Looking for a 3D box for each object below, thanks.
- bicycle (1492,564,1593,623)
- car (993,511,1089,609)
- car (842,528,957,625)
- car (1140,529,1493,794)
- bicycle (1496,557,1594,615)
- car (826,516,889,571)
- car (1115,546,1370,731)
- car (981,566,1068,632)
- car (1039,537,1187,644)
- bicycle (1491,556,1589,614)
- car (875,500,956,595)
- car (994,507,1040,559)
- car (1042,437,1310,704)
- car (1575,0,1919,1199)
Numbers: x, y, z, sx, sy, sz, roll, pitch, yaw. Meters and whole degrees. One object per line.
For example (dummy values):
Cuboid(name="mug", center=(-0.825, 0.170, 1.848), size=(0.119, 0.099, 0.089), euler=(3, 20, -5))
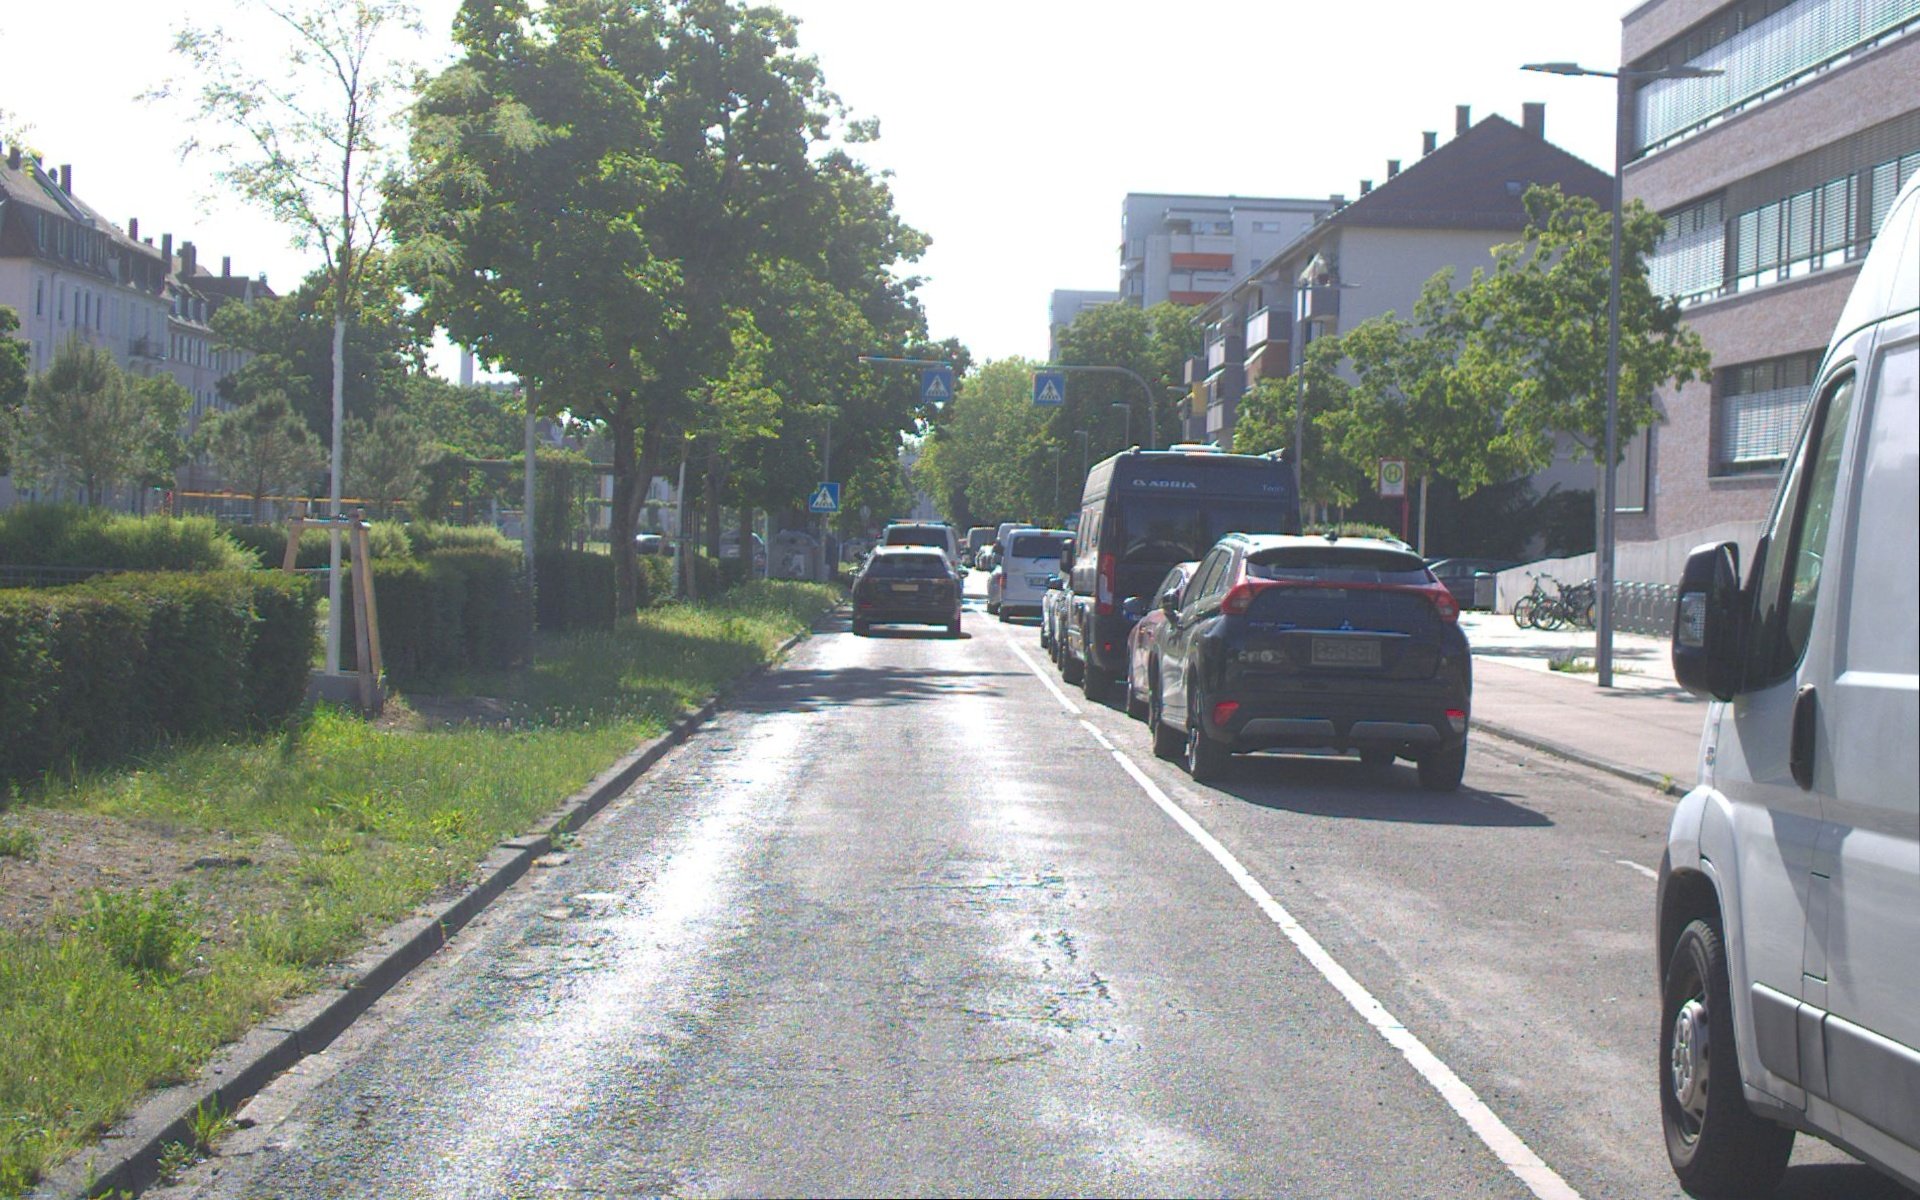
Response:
Cuboid(name="bicycle", center=(10.949, -0.125, 64.641), size=(1.794, 1.104, 0.500), euler=(0, 1, -3))
Cuboid(name="car", center=(1.644, -0.829, 69.762), size=(1.794, 1.848, 4.413), euler=(2, 1, 1))
Cuboid(name="car", center=(-0.988, -0.425, 57.573), size=(1.794, 1.505, 4.000), euler=(2, 1, 0))
Cuboid(name="car", center=(2.391, 0.348, 24.163), size=(1.846, 1.634, 4.504), euler=(2, 1, -2))
Cuboid(name="bicycle", center=(11.191, -0.273, 65.785), size=(1.794, 1.104, 0.500), euler=(0, 1, -3))
Cuboid(name="car", center=(-3.190, -1.774, 107.675), size=(1.794, 1.619, 4.000), euler=(2, 1, 0))
Cuboid(name="car", center=(2.426, 0.288, 30.379), size=(1.794, 1.450, 3.950), euler=(2, 1, -1))
Cuboid(name="car", center=(1.399, -0.041, 76.193), size=(1.764, 1.314, 4.168), euler=(3, 0, 0))
Cuboid(name="car", center=(2.168, -0.171, 49.779), size=(1.794, 1.415, 4.658), euler=(2, 1, -1))
Cuboid(name="bicycle", center=(11.187, -0.285, 66.343), size=(1.794, 1.104, 0.500), euler=(0, 1, -3))
Cuboid(name="car", center=(-1.034, -1.250, 81.042), size=(1.794, 2.115, 4.000), euler=(2, 1, 0))
Cuboid(name="car", center=(2.770, -3.280, 168.142), size=(1.993, 2.422, 4.500), euler=(4, 1, 0))
Cuboid(name="car", center=(2.165, -0.351, 36.457), size=(2.115, 2.507, 6.533), euler=(2, 1, -2))
Cuboid(name="car", center=(2.858, 0.205, 6.524), size=(2.241, 2.565, 5.433), euler=(3, 1, -1))
